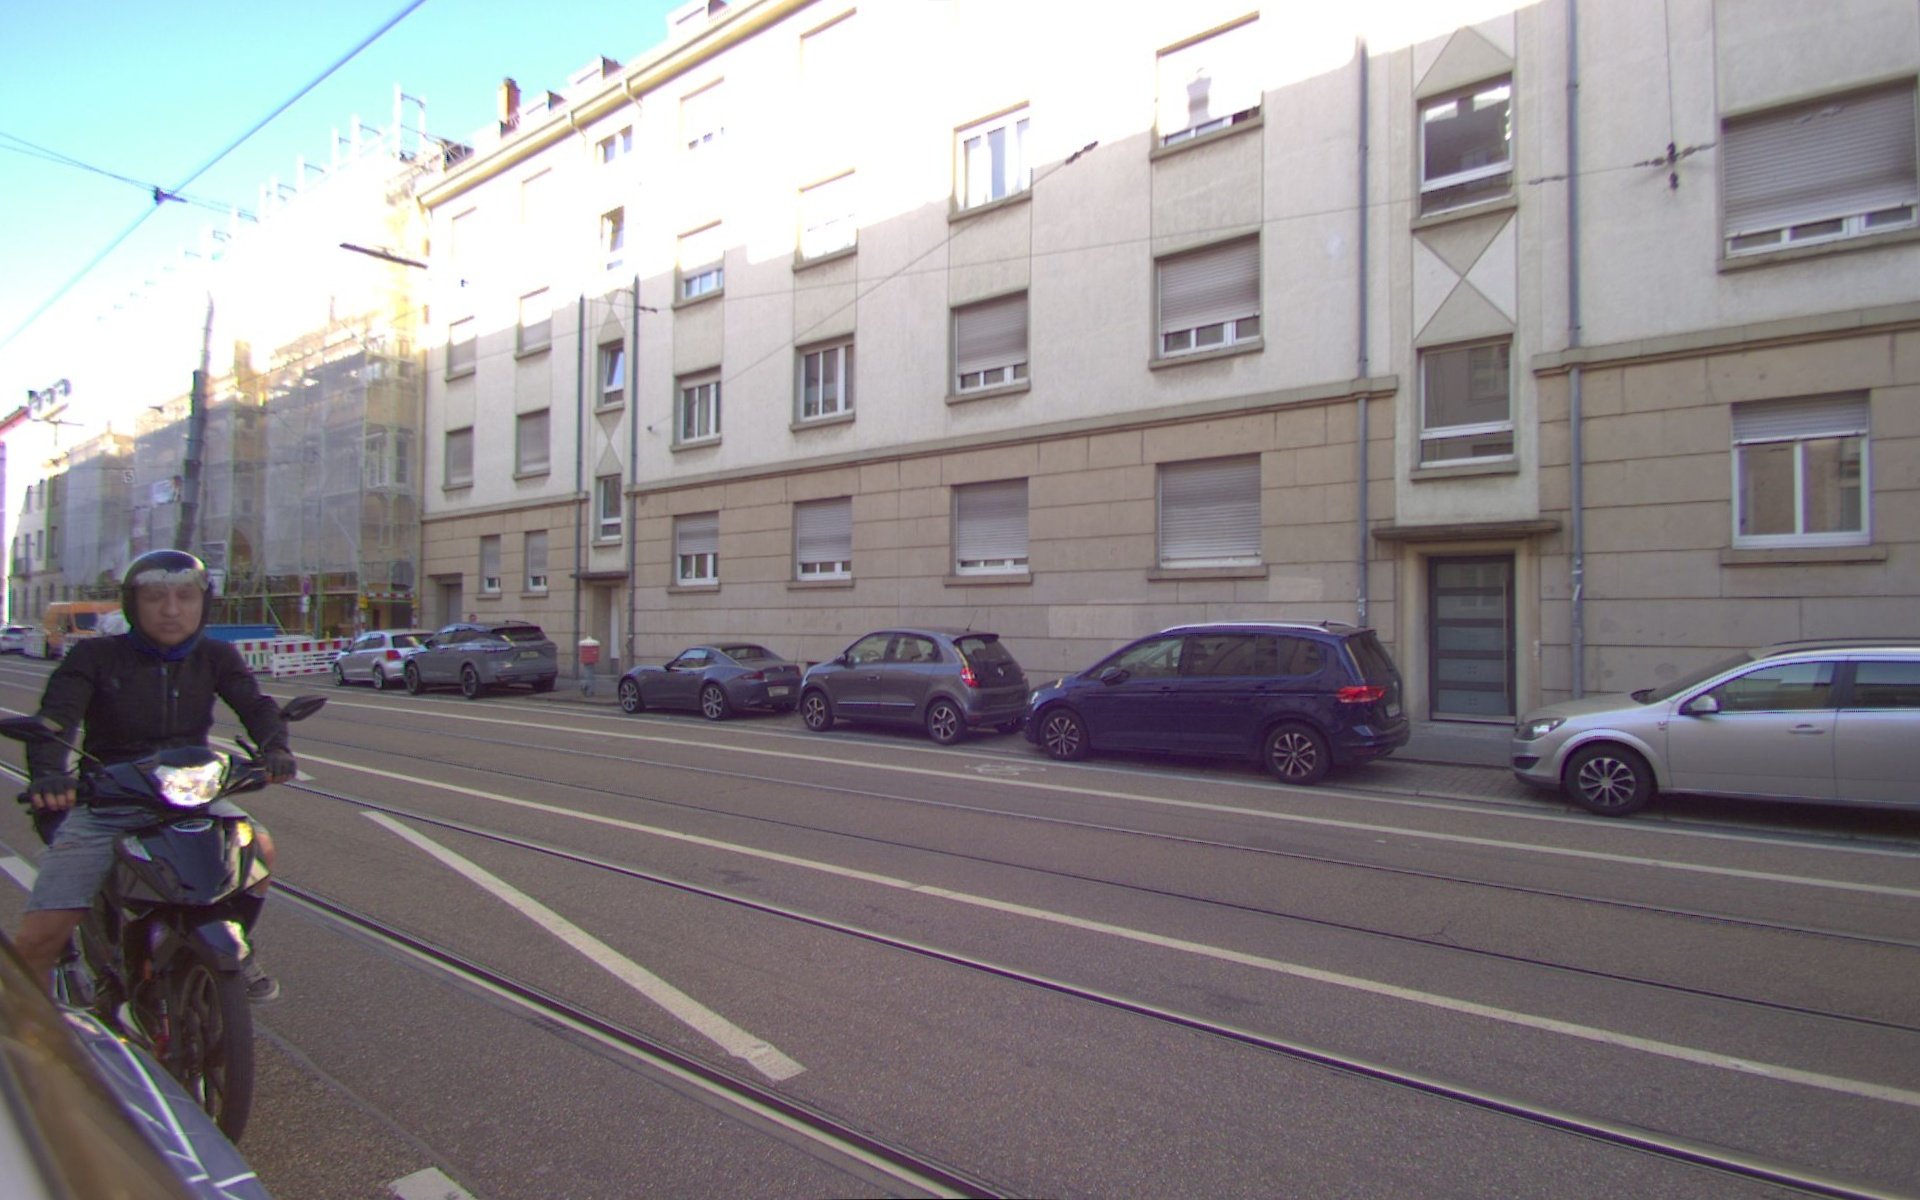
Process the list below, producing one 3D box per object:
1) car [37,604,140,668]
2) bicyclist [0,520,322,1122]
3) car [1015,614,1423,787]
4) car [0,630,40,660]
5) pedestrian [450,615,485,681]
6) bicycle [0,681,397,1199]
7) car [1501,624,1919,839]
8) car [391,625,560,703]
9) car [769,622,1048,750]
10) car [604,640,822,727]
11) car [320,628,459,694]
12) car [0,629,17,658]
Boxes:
[{"bbox_3d":[-36.323,1.497,42.125,5.993,2.488,2.099,-1,-3,39],"label":"car"},{"bbox_3d":[-2.646,0.592,3.161,0.849,1.566,0.833,-1,-3,38],"label":"bicyclist"},{"bbox_3d":[2.865,0.990,11.635,4.235,1.627,1.684,-1,0,36],"label":"car"},{"bbox_3d":[-50.101,2.381,53.329,3.995,1.523,1.729,-1,-3,39],"label":"car"},{"bbox_3d":[-12.992,1.243,26.721,0.716,1.707,0.575,-1,-1,38],"label":"pedestrian"},{"bbox_3d":[-2.586,0.885,3.134,1.971,1.186,0.731,-1,-3,38],"label":"bicycle"},{"bbox_3d":[7.115,0.992,8.433,4.380,1.521,1.683,-1,0,38],"label":"car"},{"bbox_3d":[-10.960,1.376,22.769,4.400,1.580,1.683,-1,-3,39],"label":"car"},{"bbox_3d":[-0.834,1.133,14.836,3.995,1.581,1.683,-1,0,39],"label":"car"},{"bbox_3d":[-4.349,1.375,17.600,3.779,1.225,1.684,-1,0,37],"label":"car"},{"bbox_3d":[-14.473,1.479,25.607,3.995,1.426,1.683,-1,1,39],"label":"car"},{"bbox_3d":[-54.824,2.469,57.121,4.216,1.590,1.682,-1,-1,37],"label":"car"}]
